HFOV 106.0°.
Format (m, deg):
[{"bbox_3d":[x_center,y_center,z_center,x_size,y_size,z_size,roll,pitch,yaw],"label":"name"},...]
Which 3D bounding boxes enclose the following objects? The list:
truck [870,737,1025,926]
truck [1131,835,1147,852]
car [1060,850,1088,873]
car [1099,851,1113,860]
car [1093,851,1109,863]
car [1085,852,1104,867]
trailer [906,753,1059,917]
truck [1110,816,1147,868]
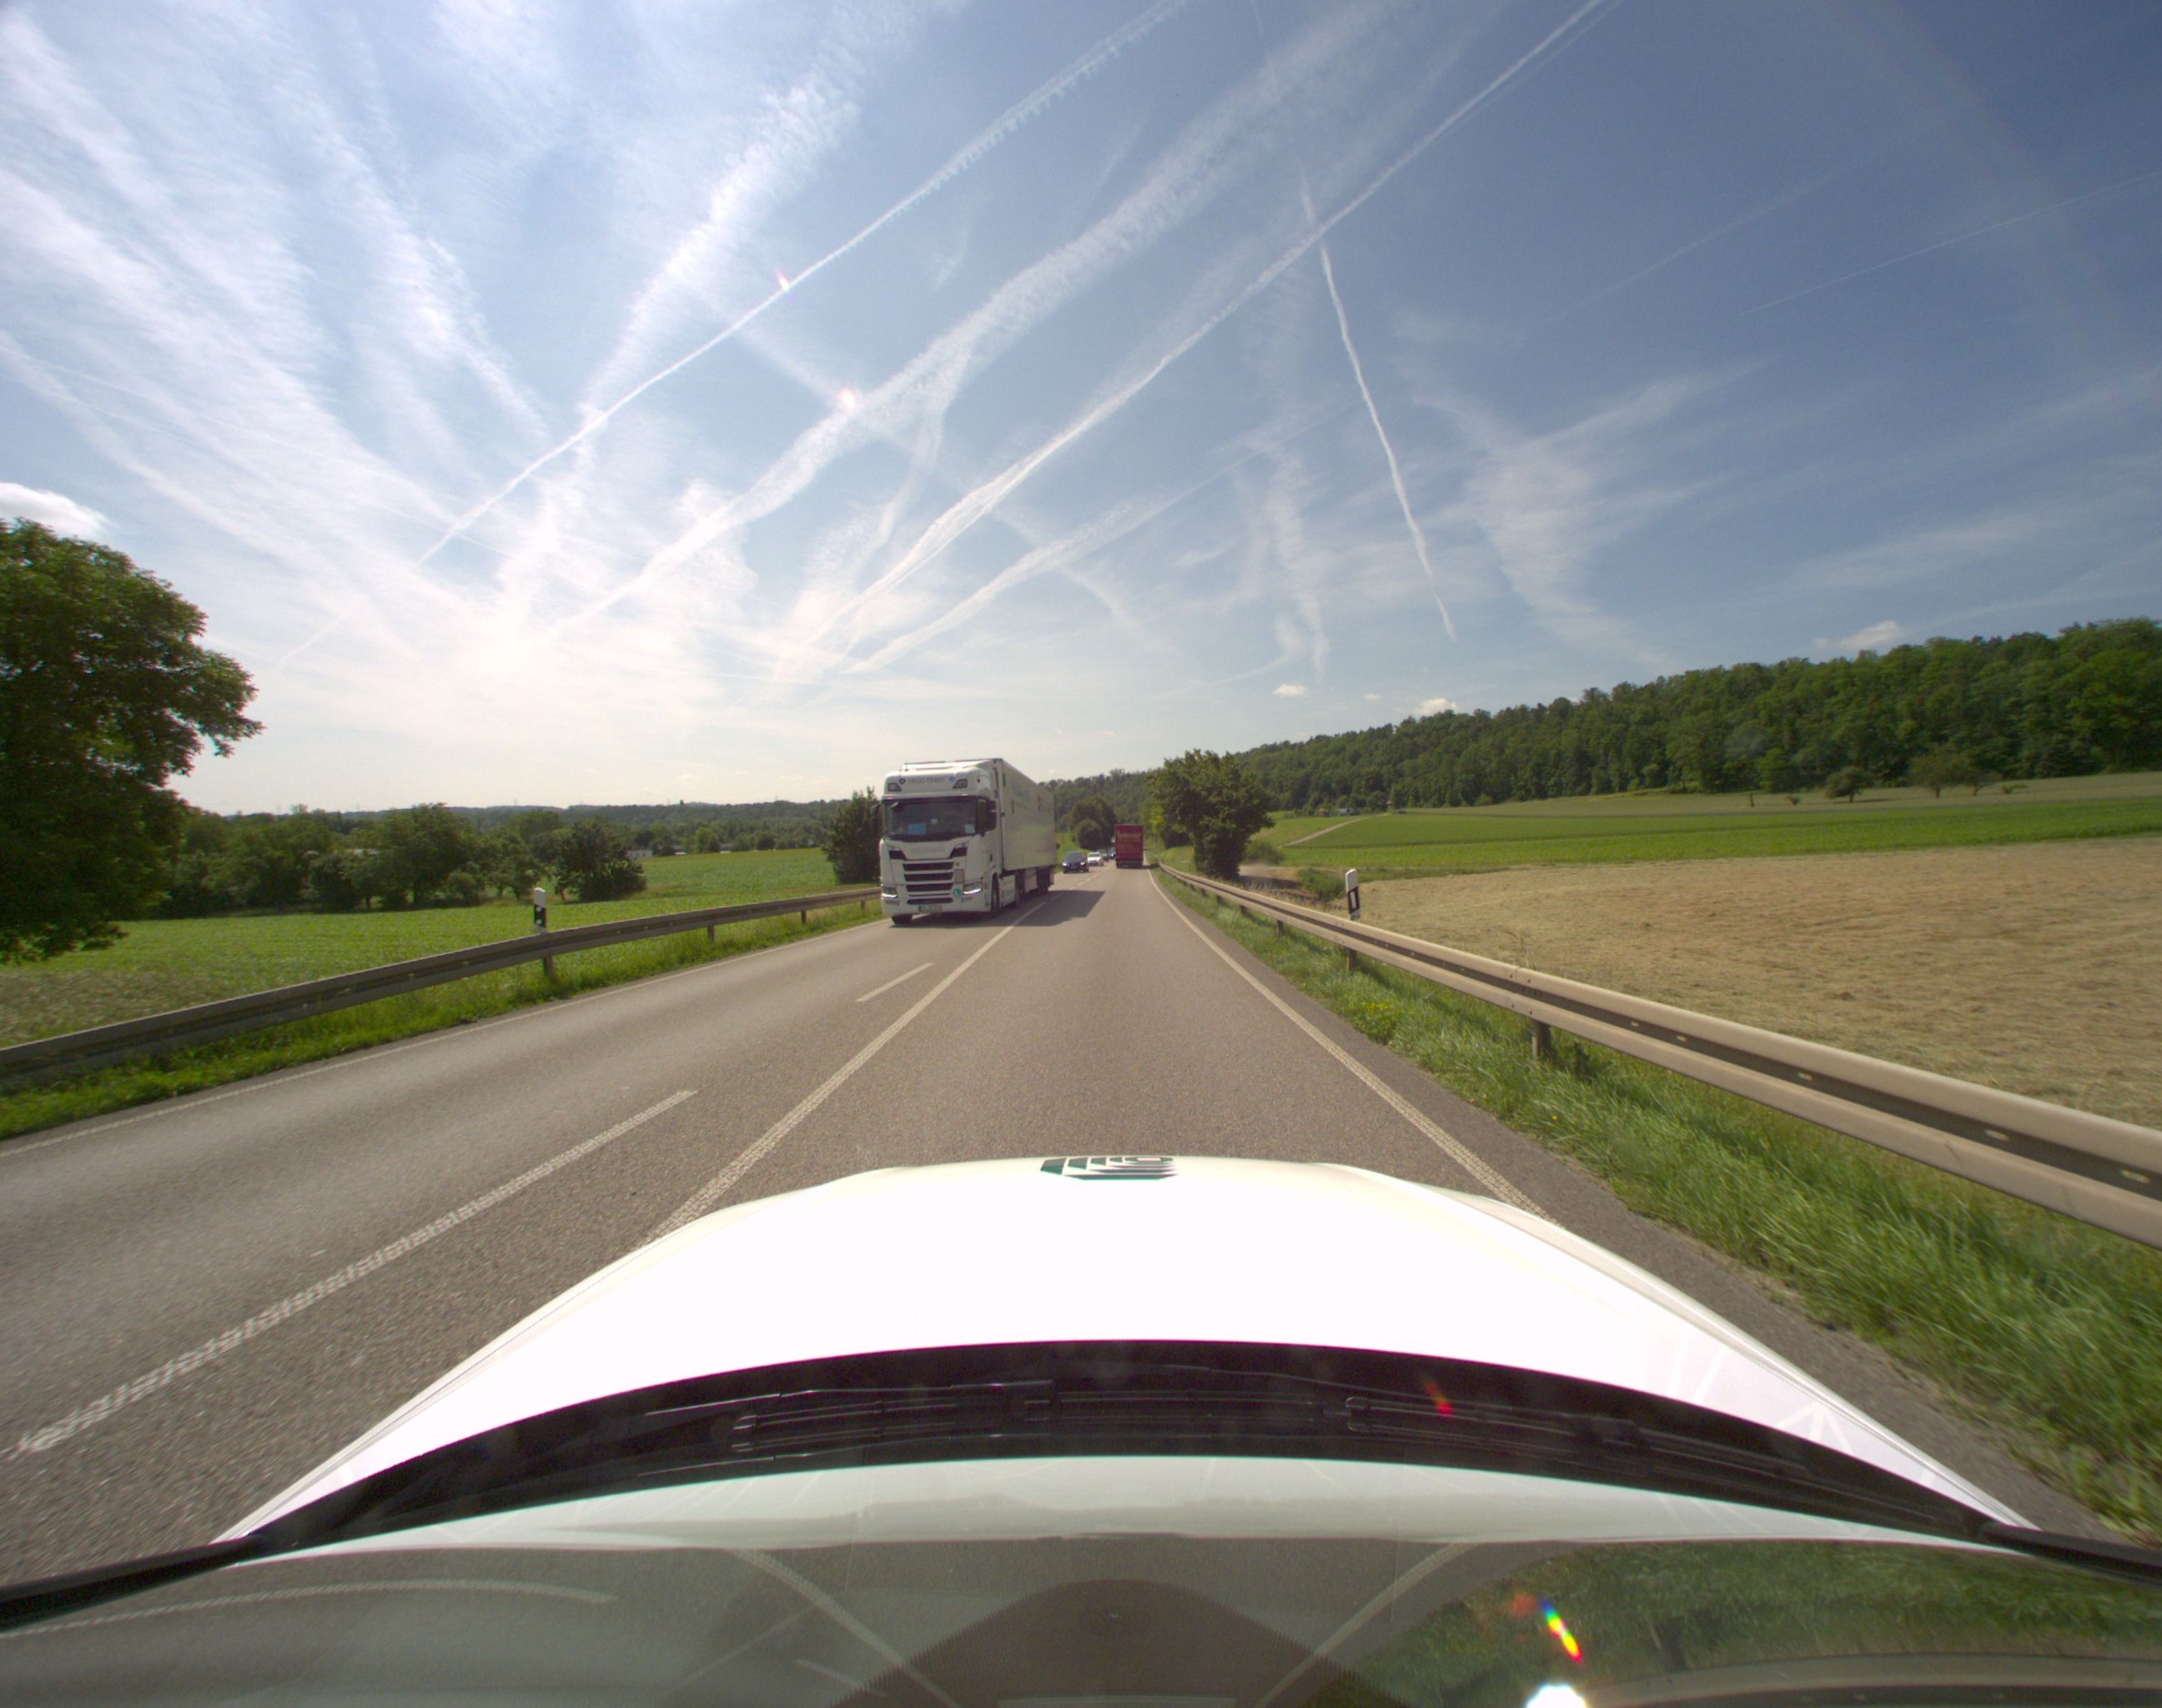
[{"bbox_3d":[-3.199,-0.504,21.268,2.519,4.119,6.027,-3,0,4],"label":"truck"},{"bbox_3d":[15.261,-2.659,216.433,3.889,4.369,13.303,2,0,3],"label":"truck"},{"bbox_3d":[-0.515,0.577,65.103,1.821,1.722,4.367,-3,0,3],"label":"car"},{"bbox_3d":[3.932,0.234,126.680,1.985,1.342,4.005,-2,1,4],"label":"car"},{"bbox_3d":[2.799,0.418,111.348,1.904,1.474,3.878,-2,0,4],"label":"car"},{"bbox_3d":[1.484,0.583,87.157,1.723,1.434,3.920,-4,0,4],"label":"car"},{"bbox_3d":[-2.737,-0.489,27.946,2.496,4.119,13.912,-3,0,4],"label":"trailer"},{"bbox_3d":[4.638,-1.141,78.983,3.159,4.625,13.557,-1,0,4],"label":"truck"}]
